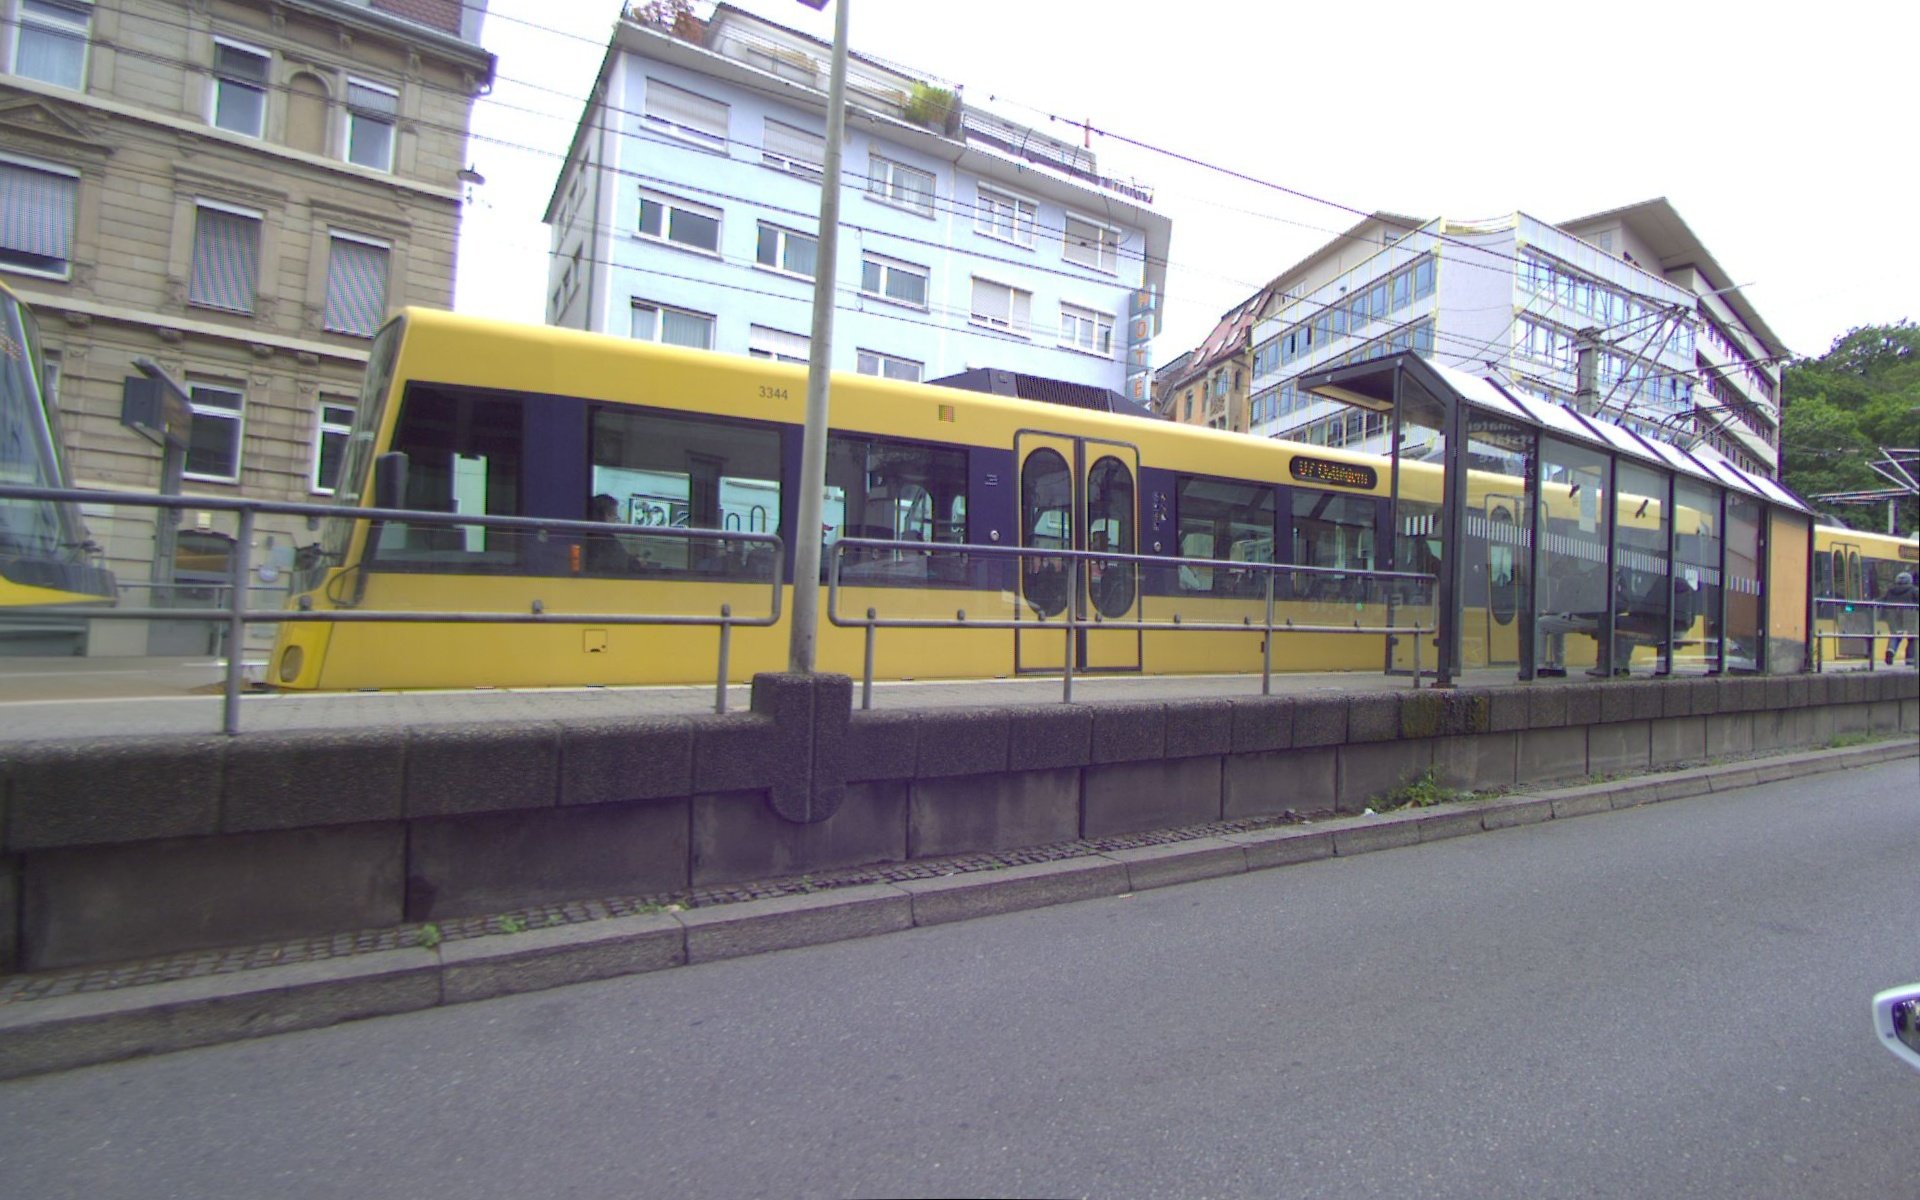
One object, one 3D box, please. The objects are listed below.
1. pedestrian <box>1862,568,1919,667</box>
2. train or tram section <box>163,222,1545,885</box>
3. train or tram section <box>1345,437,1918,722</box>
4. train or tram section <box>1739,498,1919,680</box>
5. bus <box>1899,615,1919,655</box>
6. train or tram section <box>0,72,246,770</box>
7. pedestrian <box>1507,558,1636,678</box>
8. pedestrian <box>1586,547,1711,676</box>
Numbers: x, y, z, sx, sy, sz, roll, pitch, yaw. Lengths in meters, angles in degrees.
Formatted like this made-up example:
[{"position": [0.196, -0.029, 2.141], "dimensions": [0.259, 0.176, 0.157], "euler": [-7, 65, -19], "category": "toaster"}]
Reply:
[{"position": [15.681, 0.293, 16.756], "dimensions": [0.657, 1.605, 0.774], "euler": [1, -2, -30], "category": "pedestrian"}, {"position": [0.800, -0.184, 10.562], "dimensions": [14.070, 3.711, 2.867], "euler": [0, -3, -32], "category": "train or tram section"}, {"position": [12.735, -0.177, 18.010], "dimensions": [14.070, 3.711, 2.867], "euler": [0, -3, -32], "category": "train or tram section"}, {"position": [24.692, -0.135, 25.483], "dimensions": [14.313, 3.711, 2.867], "euler": [0, -3, -32], "category": "train or tram section"}, {"position": [77.592, 2.589, 74.489], "dimensions": [3.334, 3.069, 11.512], "euler": [1, -2, -16], "category": "bus"}, {"position": [-11.119, -1.099, 3.237], "dimensions": [14.065, 3.606, 2.908], "euler": [2, 1, -31], "category": "train or tram section"}, {"position": [6.243, 0.202, 10.274], "dimensions": [0.769, 1.157, 0.846], "euler": [2, -3, -29], "category": "pedestrian"}, {"position": [7.430, 0.140, 10.858], "dimensions": [0.769, 1.323, 0.846], "euler": [2, -3, -29], "category": "pedestrian"}]
